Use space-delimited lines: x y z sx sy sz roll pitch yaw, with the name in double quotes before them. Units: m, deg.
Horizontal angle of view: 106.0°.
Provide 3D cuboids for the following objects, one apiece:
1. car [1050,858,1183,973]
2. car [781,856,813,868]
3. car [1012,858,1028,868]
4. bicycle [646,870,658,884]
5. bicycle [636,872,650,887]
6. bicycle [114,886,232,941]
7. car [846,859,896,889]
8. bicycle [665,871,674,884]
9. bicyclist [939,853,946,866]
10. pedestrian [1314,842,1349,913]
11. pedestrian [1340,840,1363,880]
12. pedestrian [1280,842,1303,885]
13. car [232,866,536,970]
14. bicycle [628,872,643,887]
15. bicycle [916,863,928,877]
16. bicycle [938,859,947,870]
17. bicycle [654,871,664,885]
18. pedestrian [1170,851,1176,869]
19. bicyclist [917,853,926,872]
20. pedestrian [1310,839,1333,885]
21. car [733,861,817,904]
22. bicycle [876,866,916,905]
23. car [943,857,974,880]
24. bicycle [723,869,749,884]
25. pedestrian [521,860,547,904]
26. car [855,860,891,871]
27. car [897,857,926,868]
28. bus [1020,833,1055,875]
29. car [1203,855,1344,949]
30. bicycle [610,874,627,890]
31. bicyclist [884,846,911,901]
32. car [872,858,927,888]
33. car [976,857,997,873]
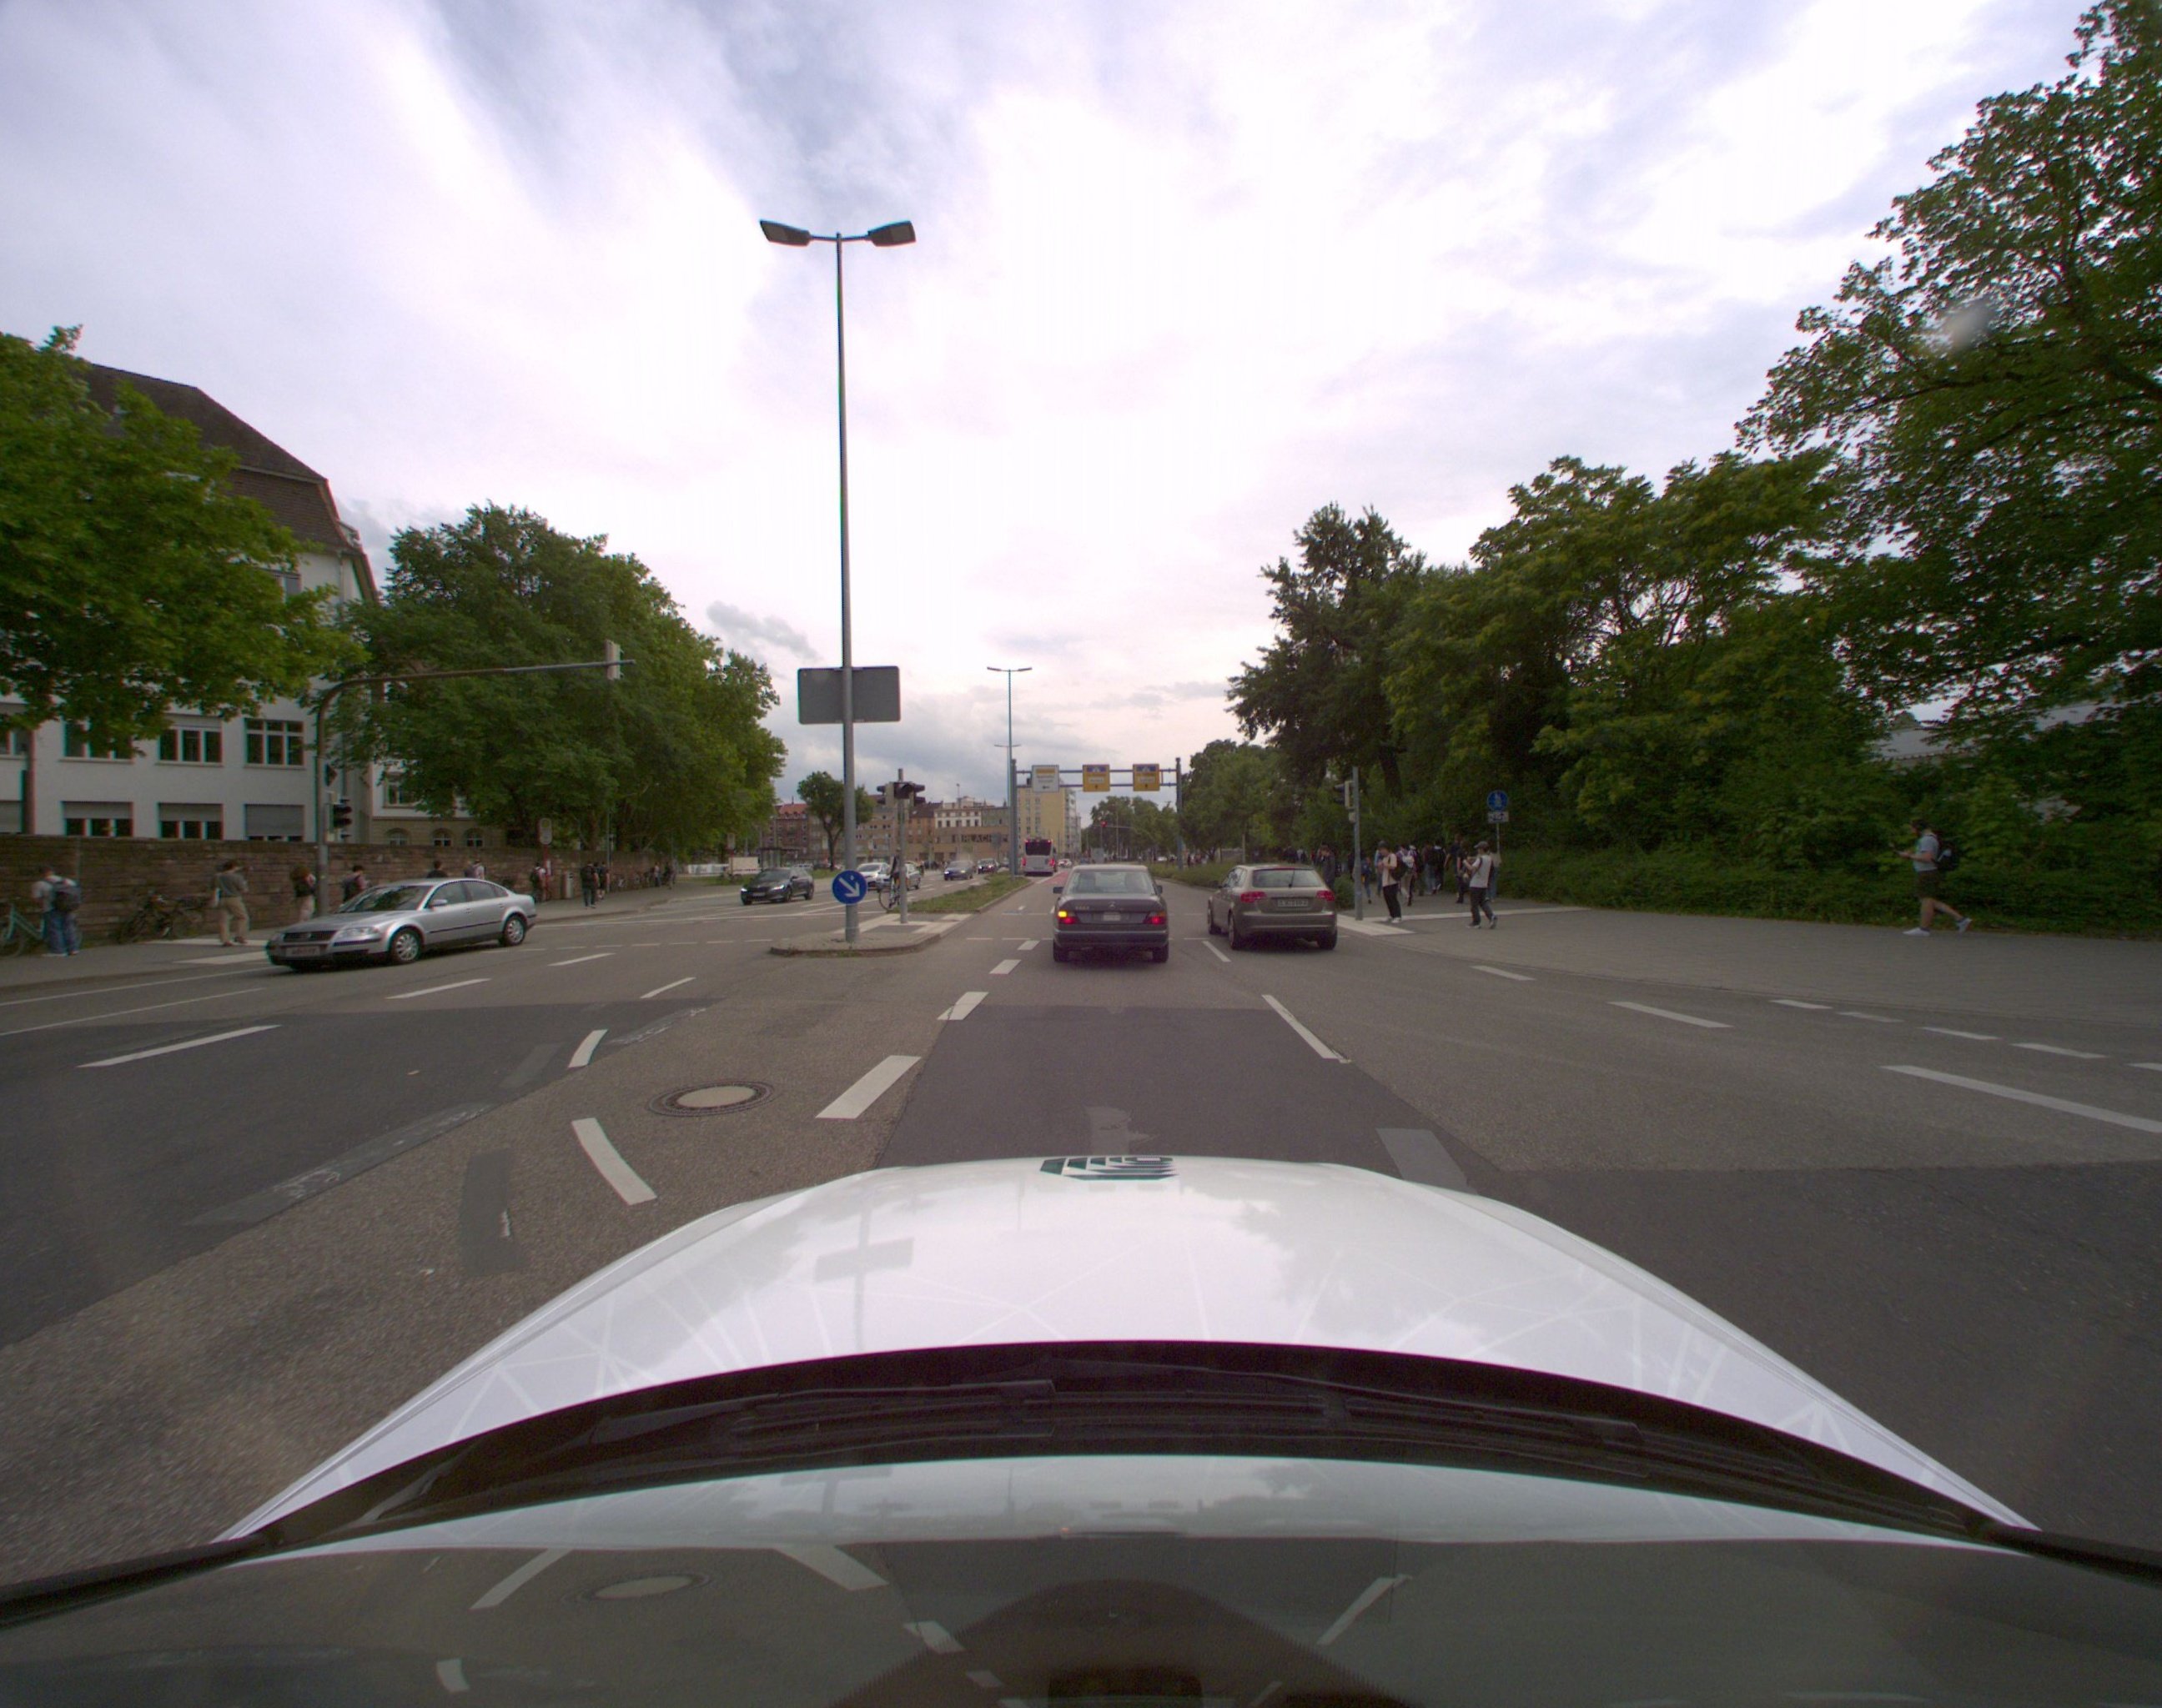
"car" 0.480 0.827 12.953 1.755 1.489 4.170 -1 0 0
"car" -41.911 1.144 120.364 4.149 1.649 1.643 -1 0 -7
"car" -9.086 1.349 121.780 1.794 1.489 4.292 -1 0 3
"bicycle" -27.425 1.477 52.063 0.347 0.878 1.513 2 -1 -18
"bicycle" -26.847 1.563 49.925 0.417 0.878 1.546 2 -1 -18
"bicycle" -20.118 1.295 18.113 0.548 1.058 1.976 2 0 -7
"car" -12.495 1.162 48.749 1.858 1.652 4.421 -1 0 -1
"bicycle" -30.018 1.696 59.362 0.483 0.907 1.608 -1 0 -23
"bicyclist" -15.129 0.590 89.129 0.578 1.419 0.811 -1 0 2
"pedestrian" 6.217 0.573 20.227 0.600 1.735 0.654 -1 -1 -3
"pedestrian" 11.146 0.243 33.545 0.633 1.584 0.785 -1 0 0
"pedestrian" 8.949 0.402 34.697 0.690 1.821 0.954 -1 0 0
"car" -12.209 1.014 14.775 1.757 1.489 4.540 -1 0 -3
"bicycle" -26.109 1.497 47.767 0.442 0.827 1.611 2 -1 -18
"bicycle" -14.983 1.484 76.782 0.615 1.217 2.047 -1 0 5
"bicycle" -15.134 1.183 89.095 0.579 1.170 1.966 -1 0 3
"bicycle" -28.232 1.620 54.484 0.442 0.878 1.609 2 -1 -21
"pedestrian" 10.480 0.706 92.677 0.612 2.014 0.597 -1 0 -2
"bicyclist" -15.009 0.784 76.792 0.615 1.782 0.812 -1 0 4
"pedestrian" 9.631 0.312 32.659 0.654 1.821 0.812 -1 0 0
"car" -12.817 1.133 34.412 1.892 1.616 4.740 -1 0 -2
"bicycle" -5.370 0.897 23.742 0.571 1.055 1.928 -1 0 4
"car" -9.332 1.088 62.410 1.796 1.511 4.102 -1 1 -1
"bicycle" -23.212 1.520 54.792 0.467 0.918 2.344 -1 0 7
"pedestrian" -21.444 1.092 31.920 0.763 1.671 0.915 0 -2 -29
"car" -29.796 1.675 116.691 4.662 1.475 1.657 0 0 -6
"car" -24.349 1.182 117.070 3.851 1.517 1.657 0 0 -6
"bus" -3.775 -0.002 71.962 2.824 3.390 8.176 -1 0 -2
"car" 3.347 0.768 14.839 1.718 1.457 3.736 -1 0 1
"bicycle" -25.012 1.515 44.038 0.442 0.827 1.611 2 -1 -18
"bicyclist" -5.368 0.570 23.824 0.569 1.574 0.700 -1 0 3
"car" -9.788 1.000 44.194 1.794 1.489 4.292 -1 0 3
"car" -9.627 1.082 82.898 1.566 1.489 3.637 -2 0 1
